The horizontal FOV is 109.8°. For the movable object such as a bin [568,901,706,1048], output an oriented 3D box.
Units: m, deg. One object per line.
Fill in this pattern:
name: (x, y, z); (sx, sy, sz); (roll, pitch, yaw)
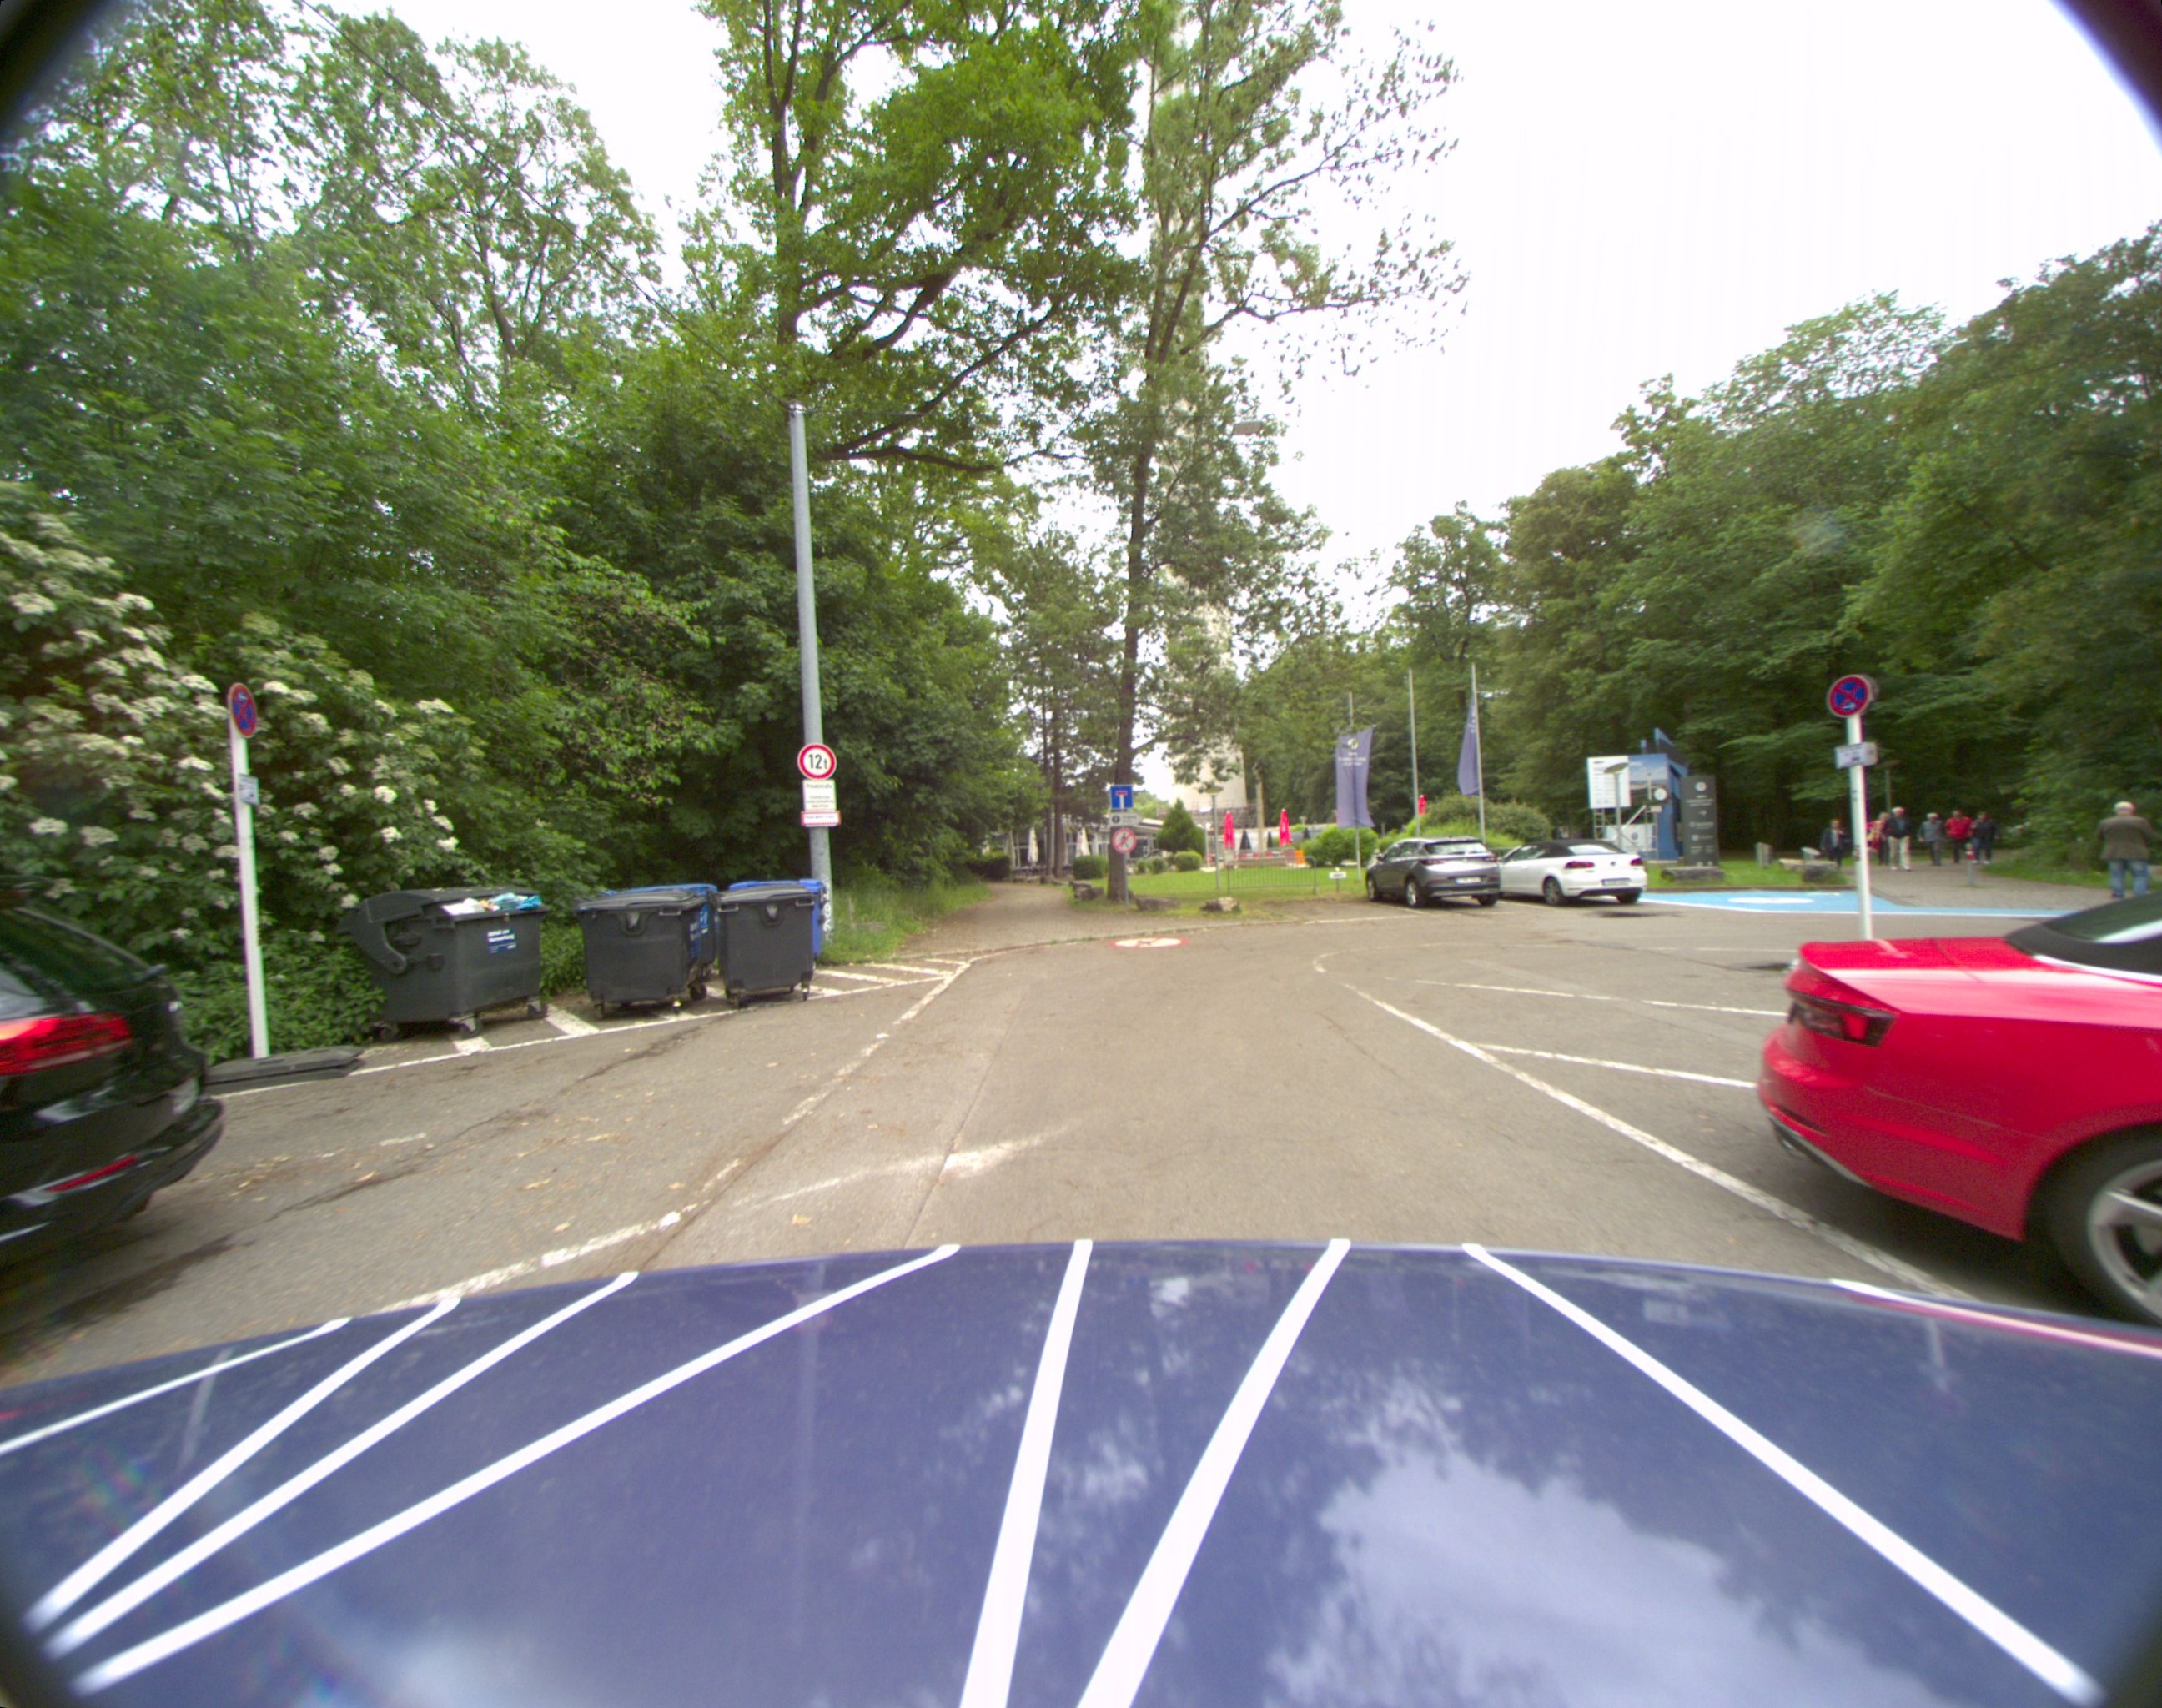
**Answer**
movable object such as a bin: (-4.680, 1.205, 8.087); (1.128, 1.307, 1.182); (-3, 0, -28)

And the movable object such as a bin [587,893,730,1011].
movable object such as a bin: (-5.388, 1.214, 9.807); (1.126, 1.312, 1.240); (-2, 0, -3)

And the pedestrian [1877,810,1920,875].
pedestrian: (24.335, -0.340, 22.626); (0.669, 1.905, 0.733); (-3, 1, -33)

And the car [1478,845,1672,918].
car: (11.038, 0.547, 17.375); (1.897, 1.420, 4.000); (-2, 0, 2)

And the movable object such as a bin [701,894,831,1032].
movable object such as a bin: (-3.601, 1.160, 8.625); (1.174, 1.299, 1.310); (-3, 0, -28)

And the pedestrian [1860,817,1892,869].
pedestrian: (27.234, -0.370, 26.038); (0.606, 1.752, 0.682); (-3, 1, -39)

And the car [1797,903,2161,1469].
car: (4.570, 0.899, 1.576); (1.772, 1.386, 4.380); (-3, 0, -44)

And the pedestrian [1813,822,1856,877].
pedestrian: (22.890, -0.125, 23.095); (0.638, 1.624, 0.777); (-3, 1, -33)

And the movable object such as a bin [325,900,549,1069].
movable object such as a bin: (-6.169, 1.207, 7.369); (1.126, 1.417, 1.131); (-2, 0, 4)

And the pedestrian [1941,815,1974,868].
pedestrian: (29.549, -0.430, 25.609); (0.715, 1.758, 0.680); (-3, 1, -39)

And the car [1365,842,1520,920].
car: (8.396, 0.560, 18.086); (1.897, 1.576, 4.000); (-2, 0, 3)

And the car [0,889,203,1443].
car: (-5.300, 1.042, 1.735); (4.079, 1.675, 1.779); (-2, 0, -43)

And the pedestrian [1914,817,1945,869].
pedestrian: (27.858, -0.352, 24.946); (0.606, 1.663, 0.607); (-3, 1, -39)

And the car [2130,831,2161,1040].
car: (9.743, 0.579, 4.193); (4.376, 1.599, 1.833); (-2, 0, 45)

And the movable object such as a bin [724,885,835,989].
movable object such as a bin: (-4.315, 1.156, 11.010); (1.257, 1.317, 1.145); (-3, 0, -11)

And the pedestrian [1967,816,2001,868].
pedestrian: (29.334, -0.393, 24.686); (0.663, 1.663, 0.680); (-3, 1, -39)

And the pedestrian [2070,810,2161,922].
pedestrian: (16.811, 0.176, 12.245); (0.897, 1.715, 0.763); (-2, 1, -15)
